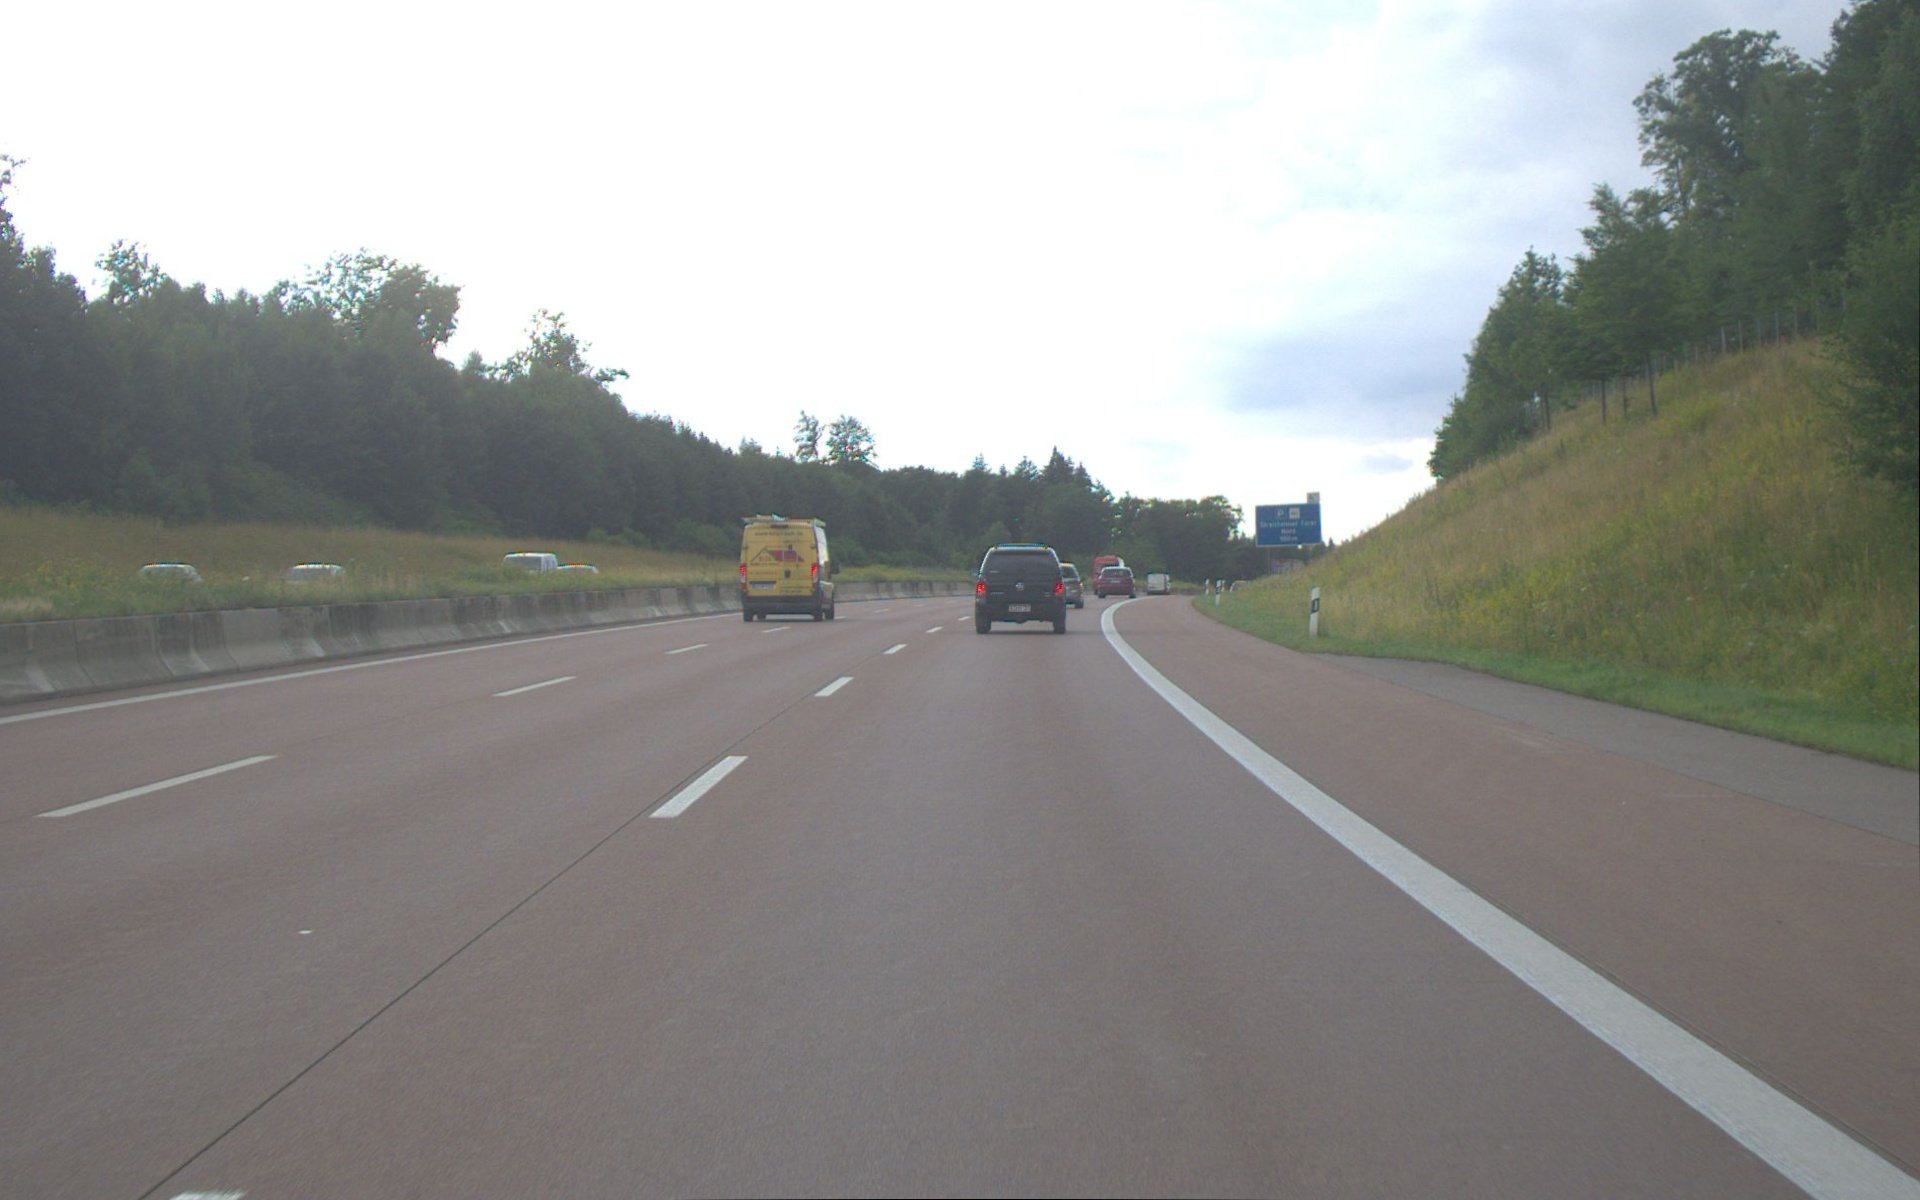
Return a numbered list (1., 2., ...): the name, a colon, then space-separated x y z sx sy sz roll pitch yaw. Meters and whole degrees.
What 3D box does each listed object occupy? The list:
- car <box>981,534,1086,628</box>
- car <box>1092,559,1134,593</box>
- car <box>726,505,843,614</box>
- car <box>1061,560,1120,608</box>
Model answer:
1. car: 1.526 -0.370 73.217 2.044 1.890 5.577 -1 -1 -1
2. car: 8.015 -1.243 180.666 1.977 1.642 4.619 -1 -1 0
3. car: -4.543 -1.013 89.842 2.459 2.697 5.613 -1 -1 3
4. car: 4.529 -0.539 119.652 1.978 1.642 4.619 0 0 2
